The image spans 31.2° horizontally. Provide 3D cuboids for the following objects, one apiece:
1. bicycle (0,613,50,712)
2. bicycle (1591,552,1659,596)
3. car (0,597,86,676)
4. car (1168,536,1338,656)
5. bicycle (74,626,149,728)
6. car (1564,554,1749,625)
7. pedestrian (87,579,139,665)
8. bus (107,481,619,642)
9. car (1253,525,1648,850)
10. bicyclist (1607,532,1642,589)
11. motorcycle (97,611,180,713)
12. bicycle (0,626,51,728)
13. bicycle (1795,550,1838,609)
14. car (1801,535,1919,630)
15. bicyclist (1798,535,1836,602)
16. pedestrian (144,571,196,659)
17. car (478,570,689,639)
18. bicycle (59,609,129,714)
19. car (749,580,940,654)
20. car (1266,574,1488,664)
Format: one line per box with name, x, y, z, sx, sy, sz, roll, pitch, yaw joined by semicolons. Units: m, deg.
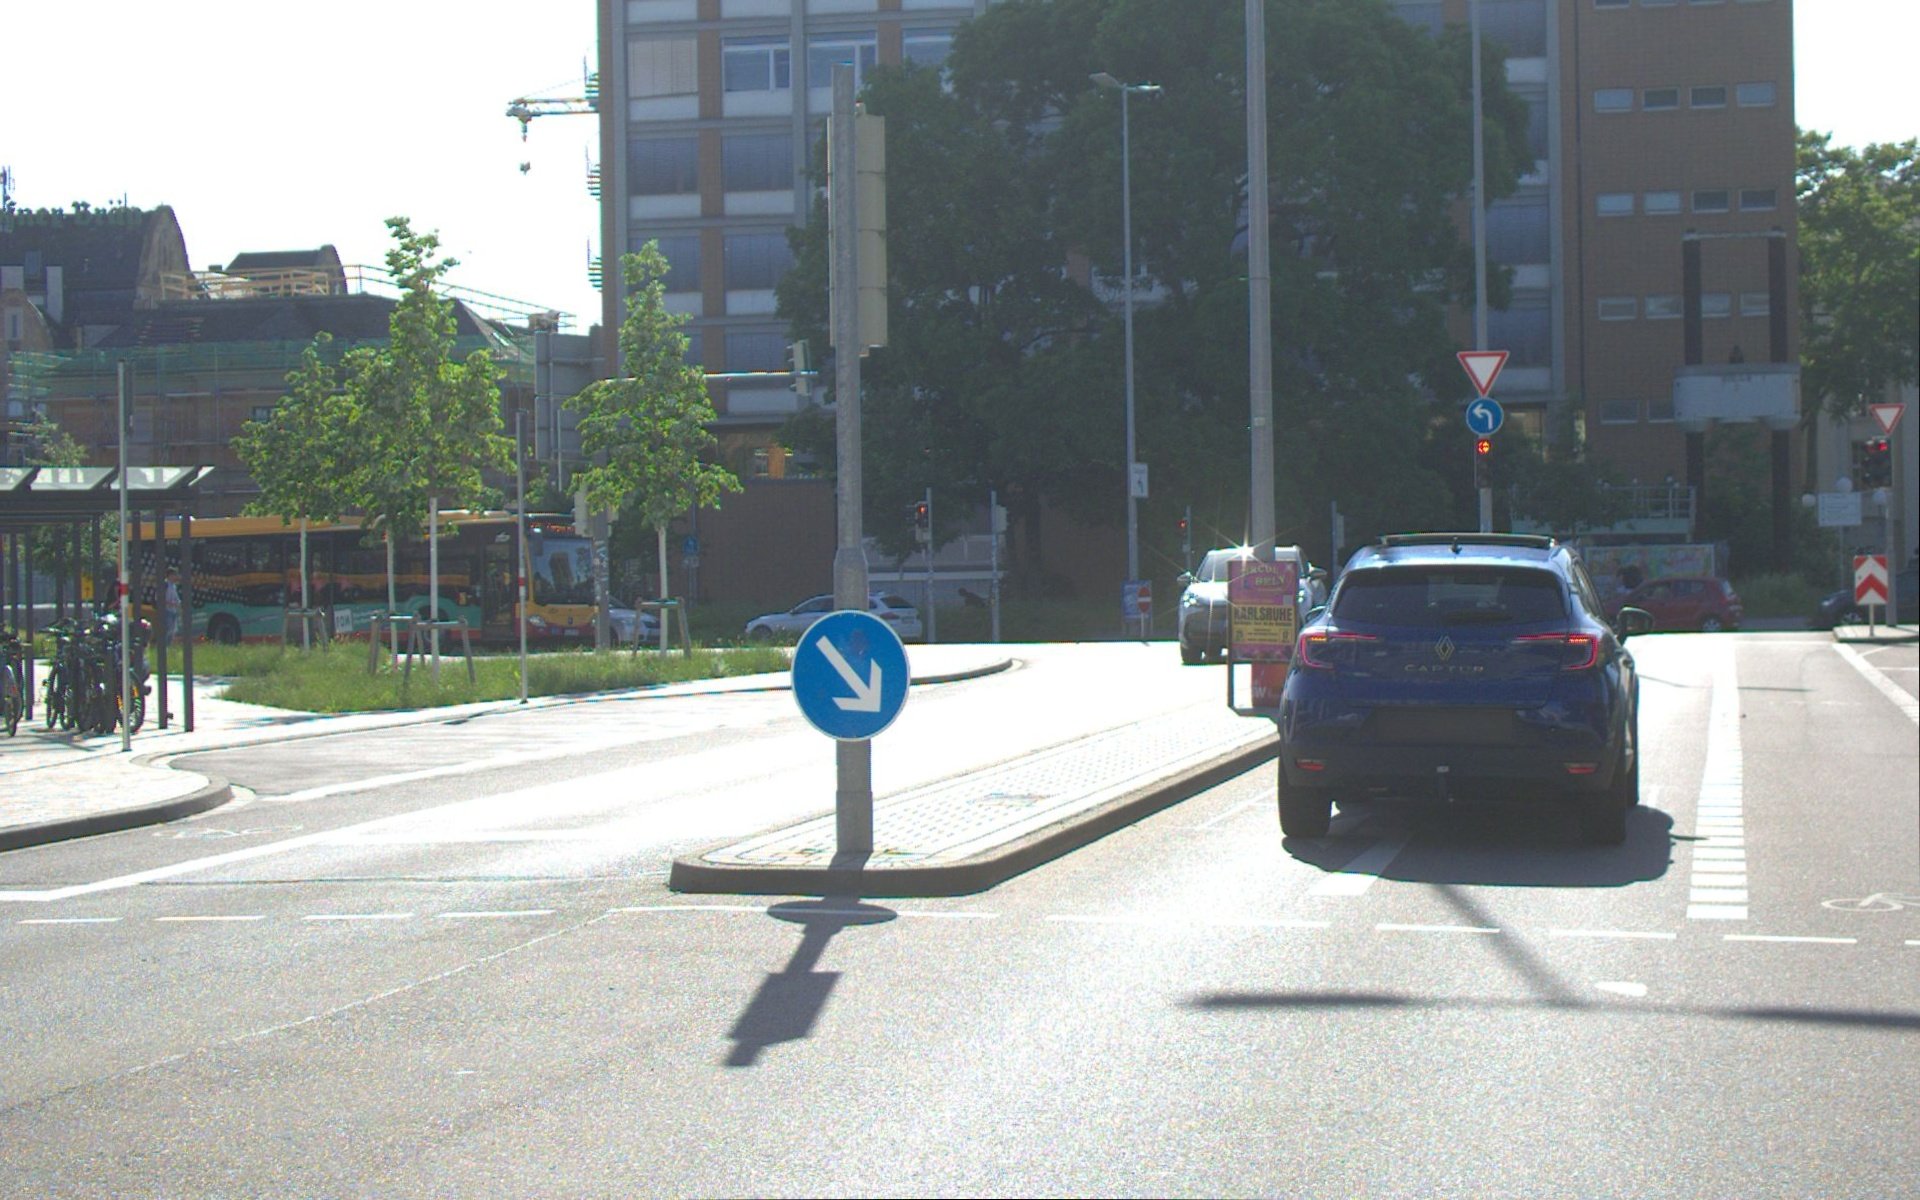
bicycle;-10.602;0.701;38.719;0.580;1.084;2.059;0;-1;-17
bicycle;16.955;-0.671;87.636;1.666;1.089;0.610;-1;1;9
car;-24.593;0.957;89.089;3.997;2.007;2.006;-1;-1;45
car;4.195;-0.088;48.732;1.819;1.563;4.248;-2;0;12
bicycle;-8.303;0.744;33.598;0.580;0.958;2.059;0;-1;-17
car;16.193;-0.226;79.894;3.899;1.581;1.877;0;-1;24
pedestrian;-17.233;0.453;69.950;0.654;1.735;0.787;0;-1;29
bus;-13.470;-0.762;76.699;12.427;3.384;2.877;0;-1;31
car;2.799;0.421;18.998;1.824;1.594;3.656;1;0;13
bicyclist;16.933;-1.016;87.613;0.817;1.439;0.620;-1;1;9
motorcycle;-9.742;0.731;40.714;0.551;1.173;1.922;1;-1;-26
bicycle;-9.143;0.736;33.229;0.580;0.958;2.059;0;-1;-17
bicycle;23.300;-0.548;93.480;0.882;1.536;2.808;0;-1;19
car;20.452;-0.358;73.862;4.377;2.007;1.998;0;-1;23
bicyclist;23.305;-0.852;93.478;0.882;1.791;1.160;0;-1;20
pedestrian;-15.698;0.295;68.318;0.625;1.735;0.787;0;-1;29
car;-8.498;0.123;77.508;4.404;1.516;1.967;0;-1;30
bicycle;-8.963;0.632;35.560;0.580;1.048;1.973;0;-1;-17
car;-3.017;0.468;89.846;4.659;1.894;1.996;0;-1;32
car;9.486;0.445;78.249;4.656;2.007;1.997;0;-1;23
